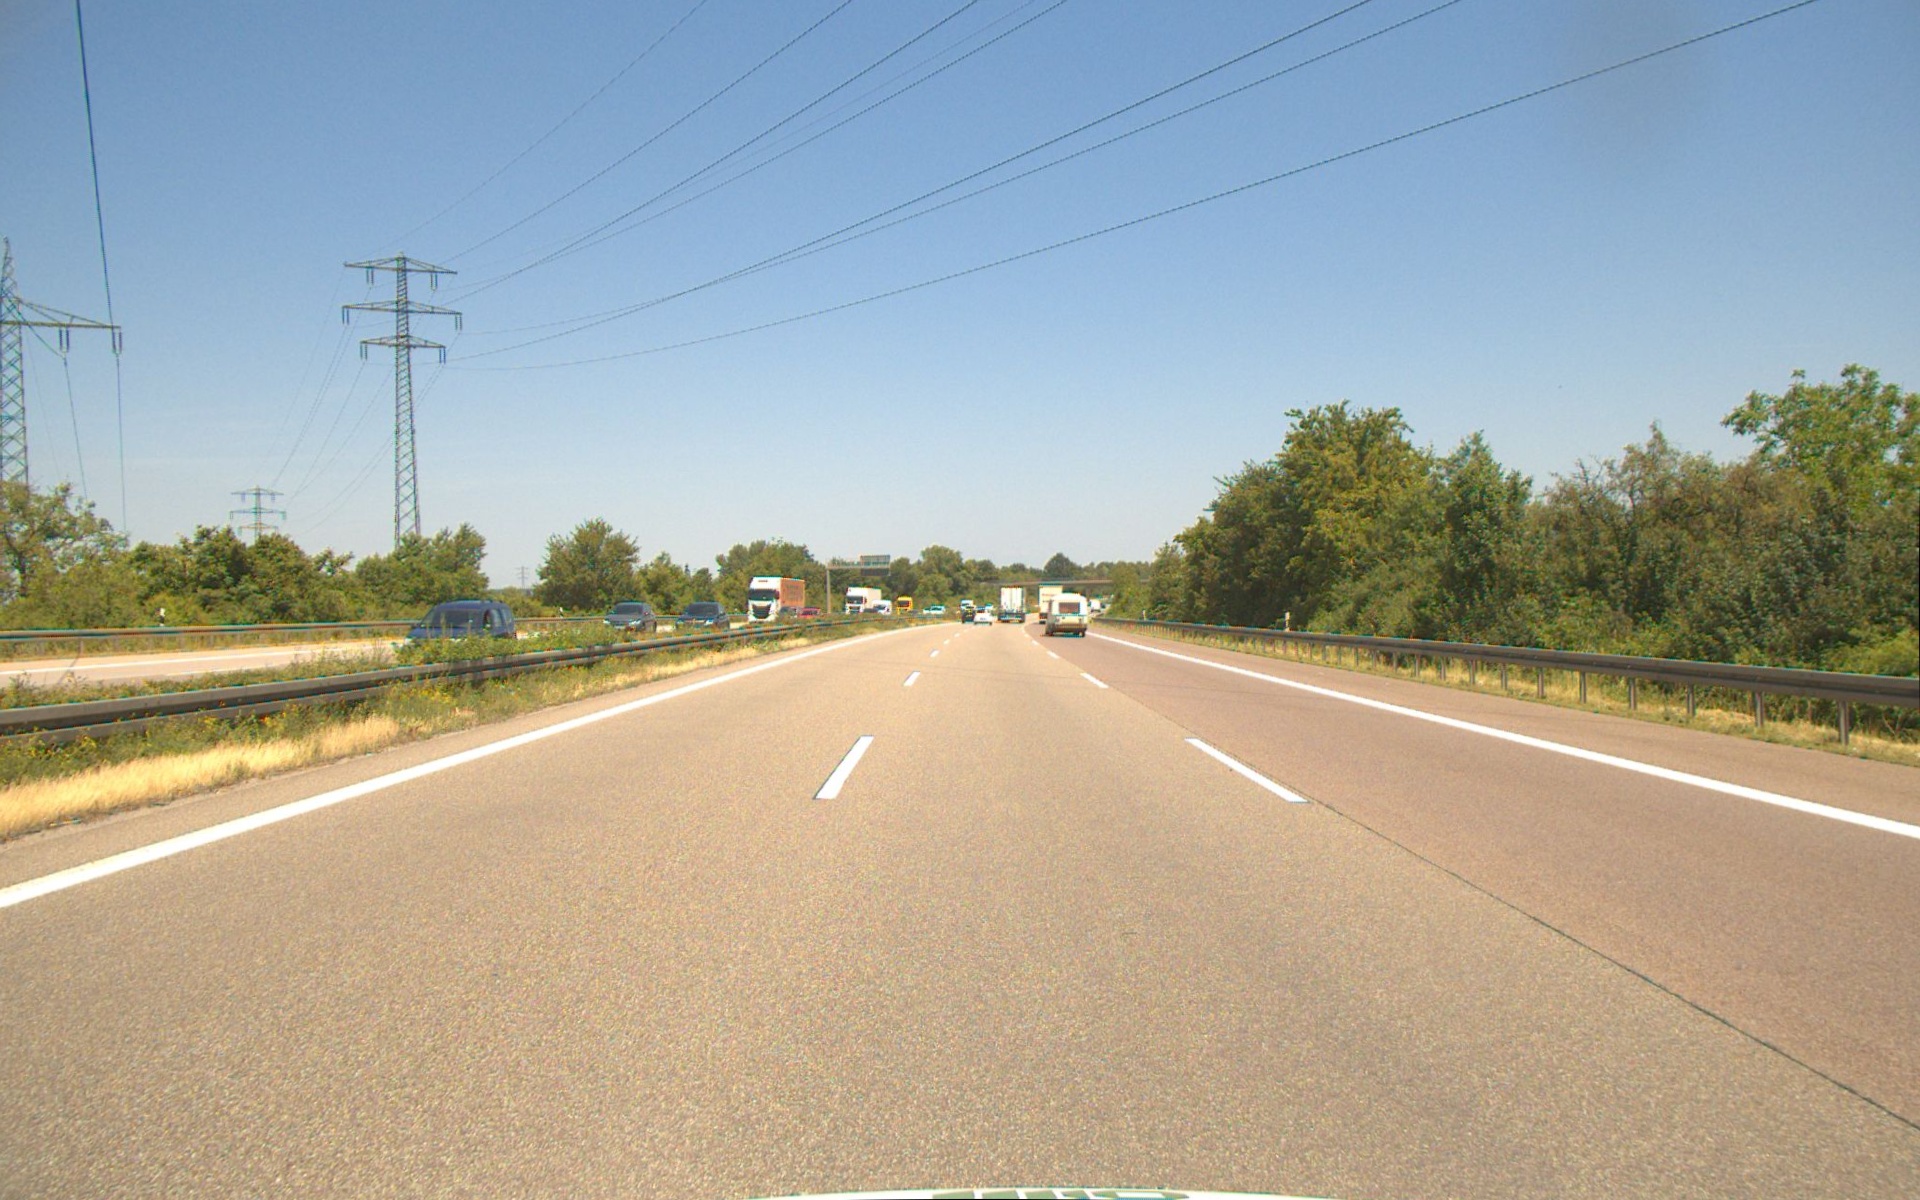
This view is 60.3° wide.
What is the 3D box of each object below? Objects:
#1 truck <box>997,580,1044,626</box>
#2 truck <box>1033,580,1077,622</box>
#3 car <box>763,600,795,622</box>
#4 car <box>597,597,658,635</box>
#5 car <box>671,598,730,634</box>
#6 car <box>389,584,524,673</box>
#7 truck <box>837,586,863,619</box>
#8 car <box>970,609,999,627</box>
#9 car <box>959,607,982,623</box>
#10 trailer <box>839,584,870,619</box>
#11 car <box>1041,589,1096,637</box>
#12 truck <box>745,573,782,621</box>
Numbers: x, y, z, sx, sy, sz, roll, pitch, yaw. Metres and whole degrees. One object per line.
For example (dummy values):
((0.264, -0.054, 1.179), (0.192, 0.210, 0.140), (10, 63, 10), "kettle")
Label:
((7.118, 0.239, 192.220), (3.588, 5.106, 16.031), (1, 1, 9), "truck")
((10.592, 0.054, 182.474), (3.113, 4.379, 16.032), (1, 1, 9), "truck")
((-14.160, 0.831, 129.497), (1.953, 1.702, 4.929), (0, 0, 0), "car")
((-15.443, 0.732, 76.999), (1.953, 1.646, 4.411), (0, 1, 0), "car")
((-11.510, 0.699, 73.630), (1.953, 1.460, 4.411), (0, 1, 0), "car")
((-12.120, 0.634, 40.064), (1.953, 2.009, 4.286), (0, 1, 0), "car")
((-13.939, 0.290, 210.686), (2.772, 4.153, 5.167), (0, 0, 2), "truck")
((2.321, 1.694, 153.909), (1.789, 1.574, 4.322), (1, 0, 13), "car")
((1.117, 1.597, 174.895), (1.789, 1.574, 4.323), (1, 0, 9), "car")
((-13.752, 0.193, 217.394), (2.776, 4.332, 13.640), (0, 0, 2), "trailer")
((5.626, 0.634, 86.531), (2.393, 2.362, 5.320), (-1, 1, -2), "car")
((-17.076, -0.295, 143.956), (2.430, 4.089, 4.603), (0, 1, 2), "truck")
